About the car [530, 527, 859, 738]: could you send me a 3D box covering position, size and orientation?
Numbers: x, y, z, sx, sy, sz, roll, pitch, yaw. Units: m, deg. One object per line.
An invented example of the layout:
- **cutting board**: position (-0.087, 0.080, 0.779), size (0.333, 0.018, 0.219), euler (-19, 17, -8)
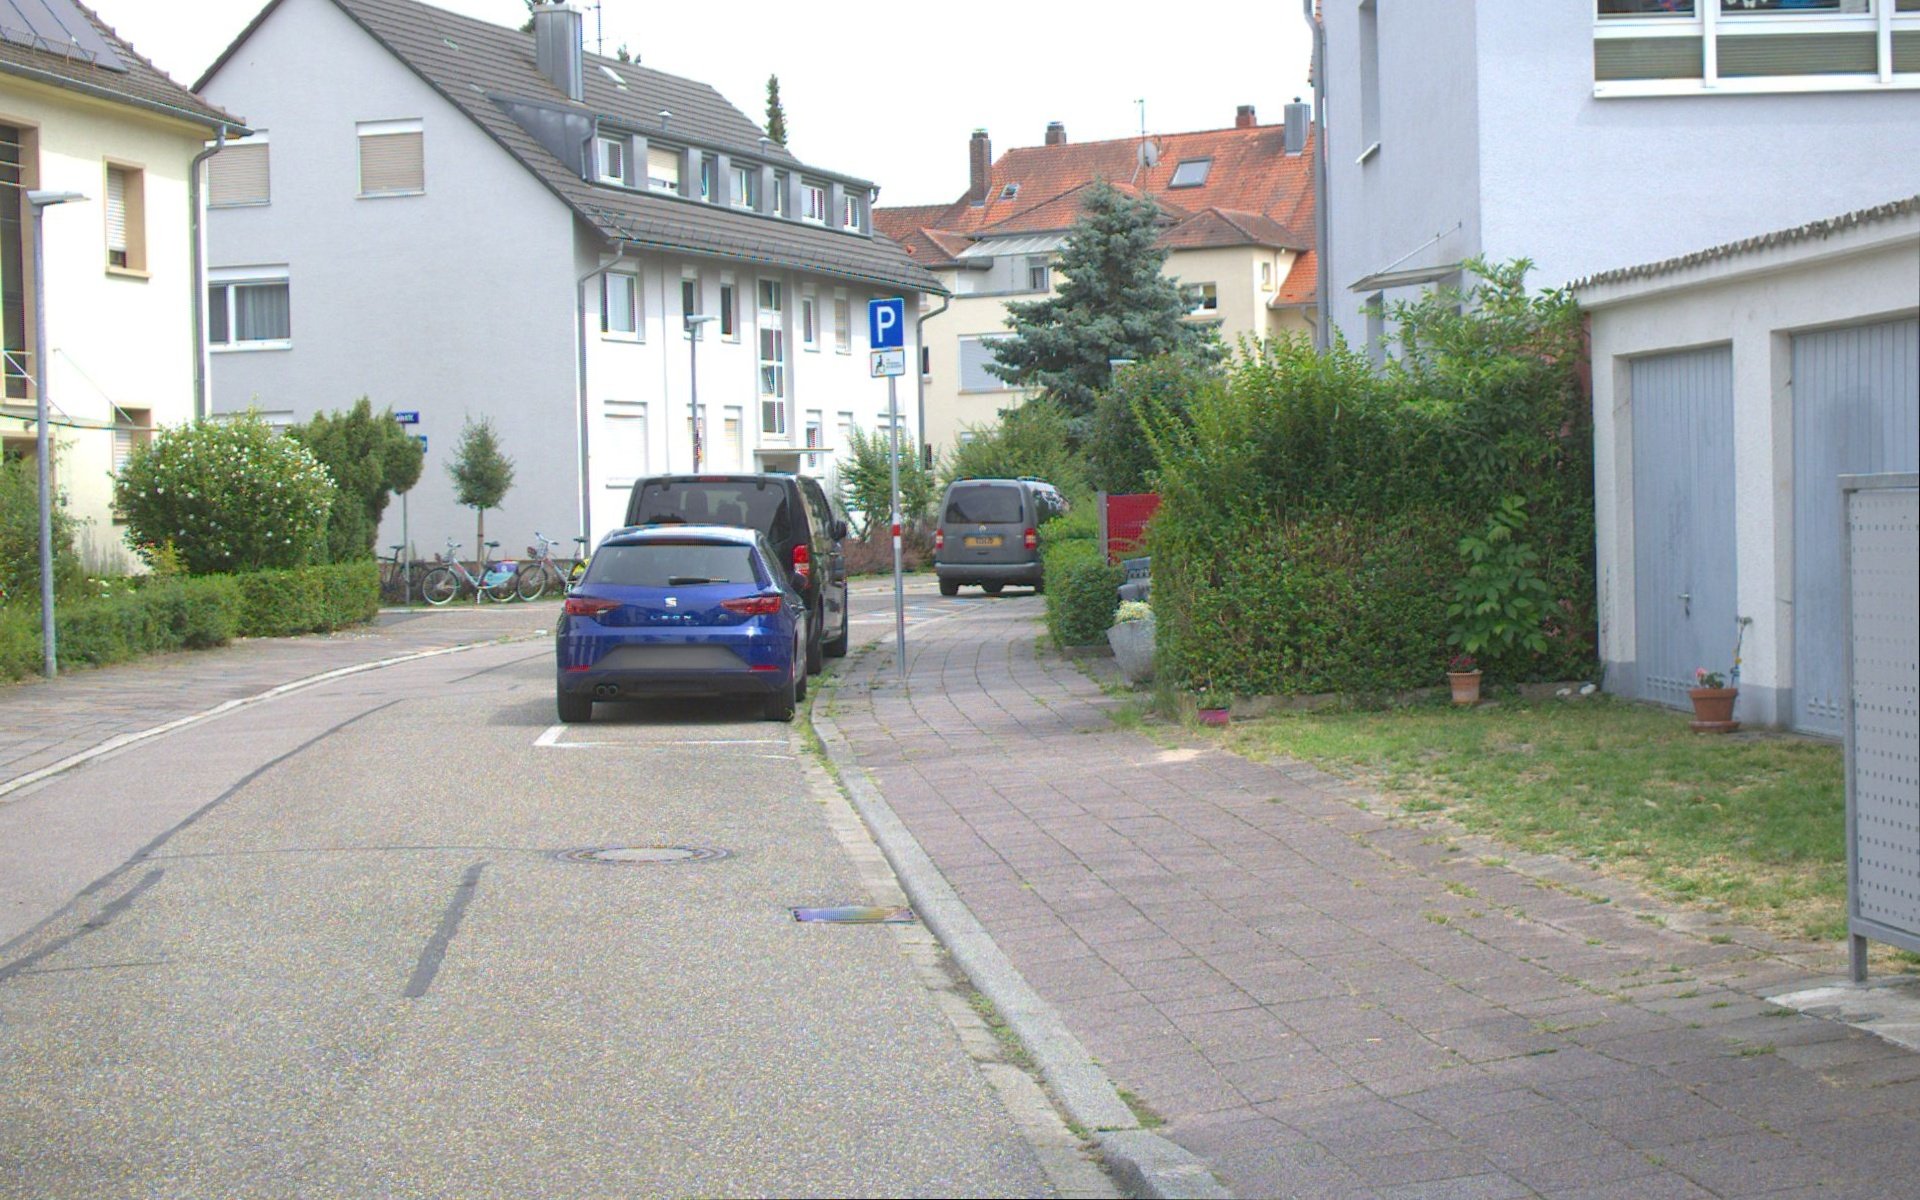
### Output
- **car**: position (-1.941, 0.239, 26.338), size (1.723, 1.447, 3.999), euler (-2, 0, 7)

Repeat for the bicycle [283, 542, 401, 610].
- **bicycle**: position (-10.221, -0.394, 56.858), size (1.833, 1.075, 0.671), euler (-1, 0, -17)

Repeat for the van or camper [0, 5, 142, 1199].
- **van or camper**: position (-3.193, 0.079, 5.573), size (2.404, 2.716, 6.162), euler (-2, 0, -2)

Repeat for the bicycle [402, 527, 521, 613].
- **bicycle**: position (-8.278, -0.500, 57.100), size (1.833, 1.368, 0.671), euler (-1, 0, -17)

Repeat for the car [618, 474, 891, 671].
- **car**: position (-1.909, -0.240, 33.344), size (1.854, 1.736, 4.345), euler (-2, 0, 7)

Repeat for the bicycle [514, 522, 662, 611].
- **bicycle**: position (-6.285, -0.567, 58.130), size (2.345, 1.455, 0.719), euler (-1, 0, -27)

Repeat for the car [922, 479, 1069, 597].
- **car**: position (0.614, -0.954, 55.066), size (1.854, 1.736, 4.345), euler (-2, 0, 7)
